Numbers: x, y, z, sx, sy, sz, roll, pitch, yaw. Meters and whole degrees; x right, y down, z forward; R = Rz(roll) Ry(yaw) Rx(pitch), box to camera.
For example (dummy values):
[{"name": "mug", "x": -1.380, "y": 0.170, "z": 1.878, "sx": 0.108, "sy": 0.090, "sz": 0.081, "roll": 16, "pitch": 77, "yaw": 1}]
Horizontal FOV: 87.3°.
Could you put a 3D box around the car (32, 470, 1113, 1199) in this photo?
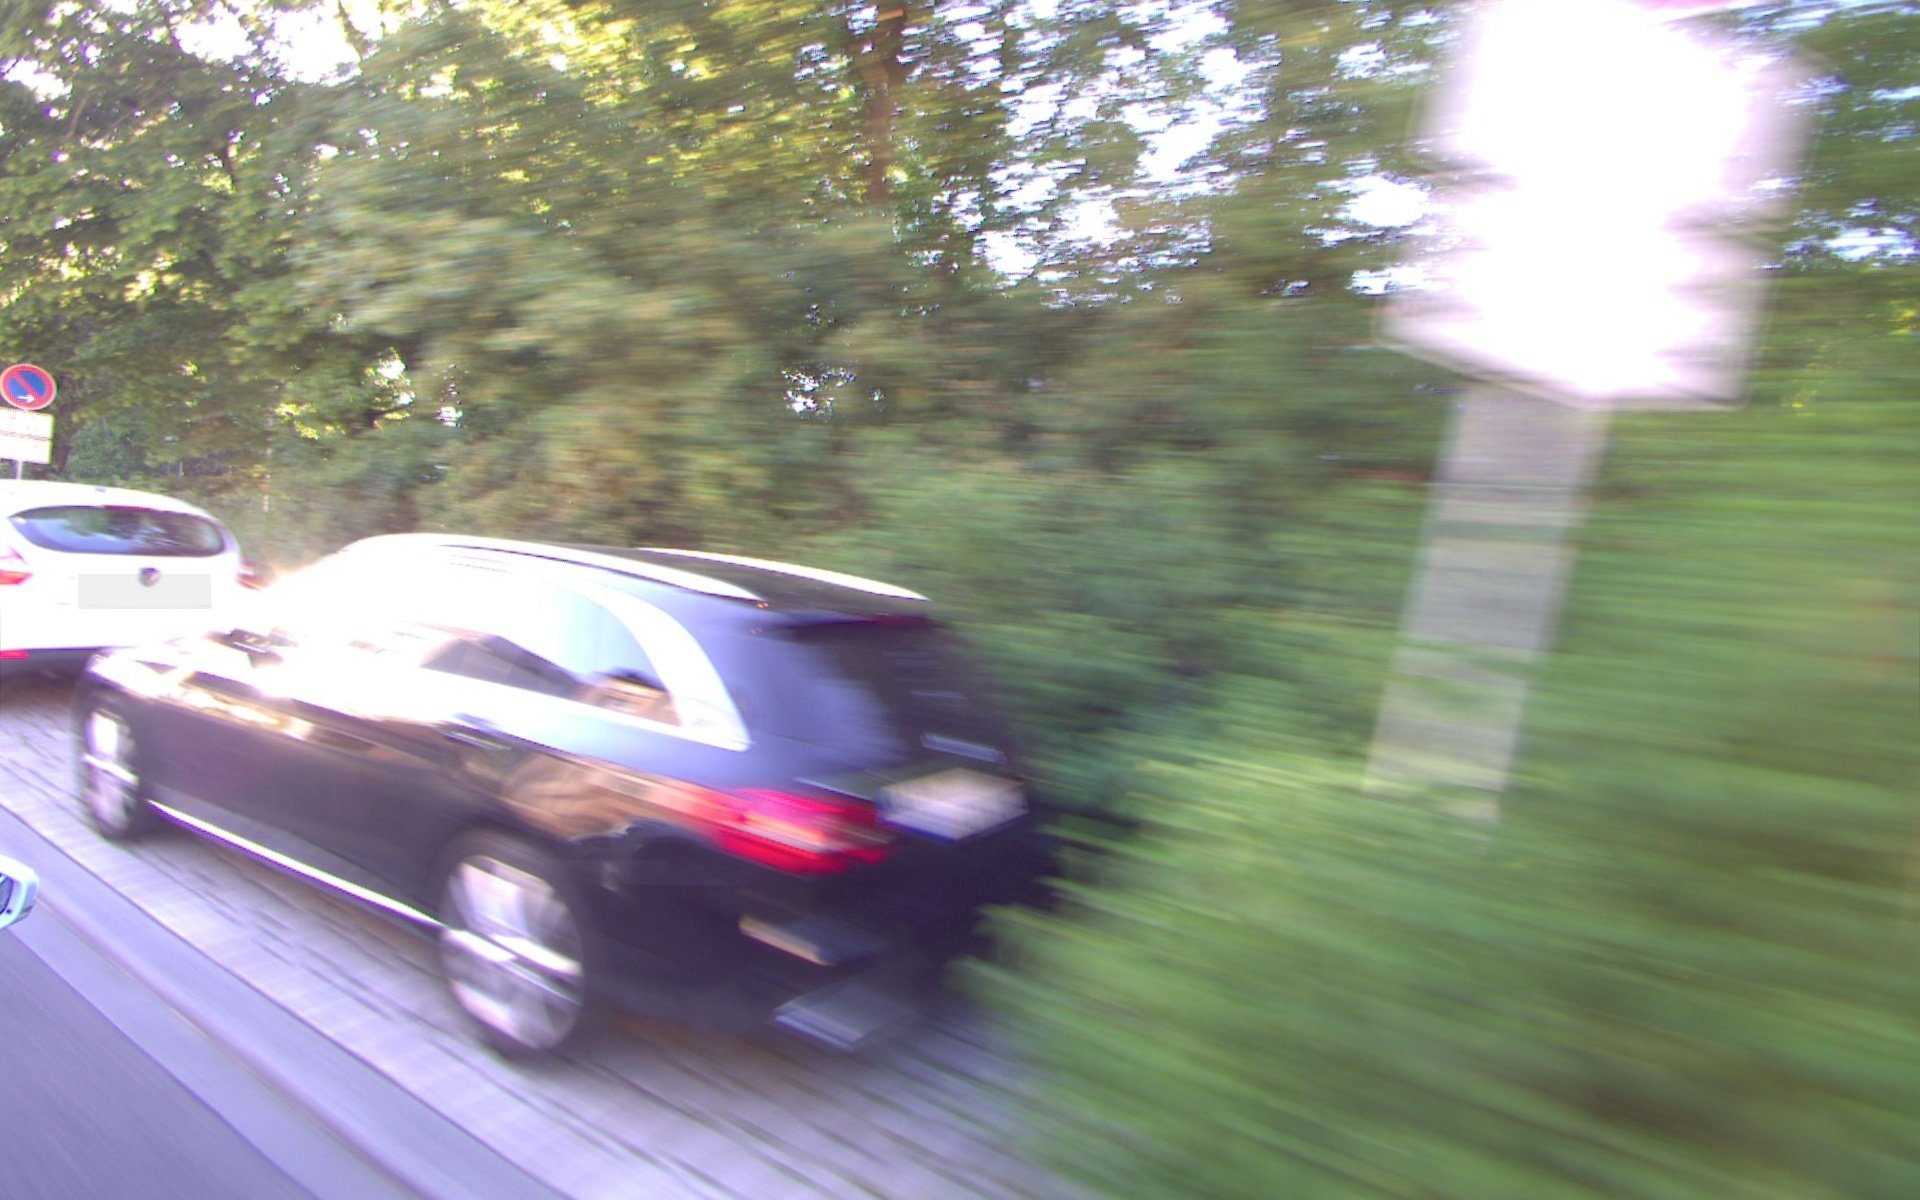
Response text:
[{"name": "car", "x": -1.834, "y": 0.423, "z": 4.135, "sx": 4.434, "sy": 1.506, "sz": 1.749, "roll": 7, "pitch": 2, "yaw": 32}]

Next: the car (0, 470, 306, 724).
[{"name": "car", "x": -6.999, "y": -0.177, "z": 7.706, "sx": 4.108, "sy": 1.506, "sz": 1.748, "roll": 7, "pitch": 2, "yaw": 33}]
